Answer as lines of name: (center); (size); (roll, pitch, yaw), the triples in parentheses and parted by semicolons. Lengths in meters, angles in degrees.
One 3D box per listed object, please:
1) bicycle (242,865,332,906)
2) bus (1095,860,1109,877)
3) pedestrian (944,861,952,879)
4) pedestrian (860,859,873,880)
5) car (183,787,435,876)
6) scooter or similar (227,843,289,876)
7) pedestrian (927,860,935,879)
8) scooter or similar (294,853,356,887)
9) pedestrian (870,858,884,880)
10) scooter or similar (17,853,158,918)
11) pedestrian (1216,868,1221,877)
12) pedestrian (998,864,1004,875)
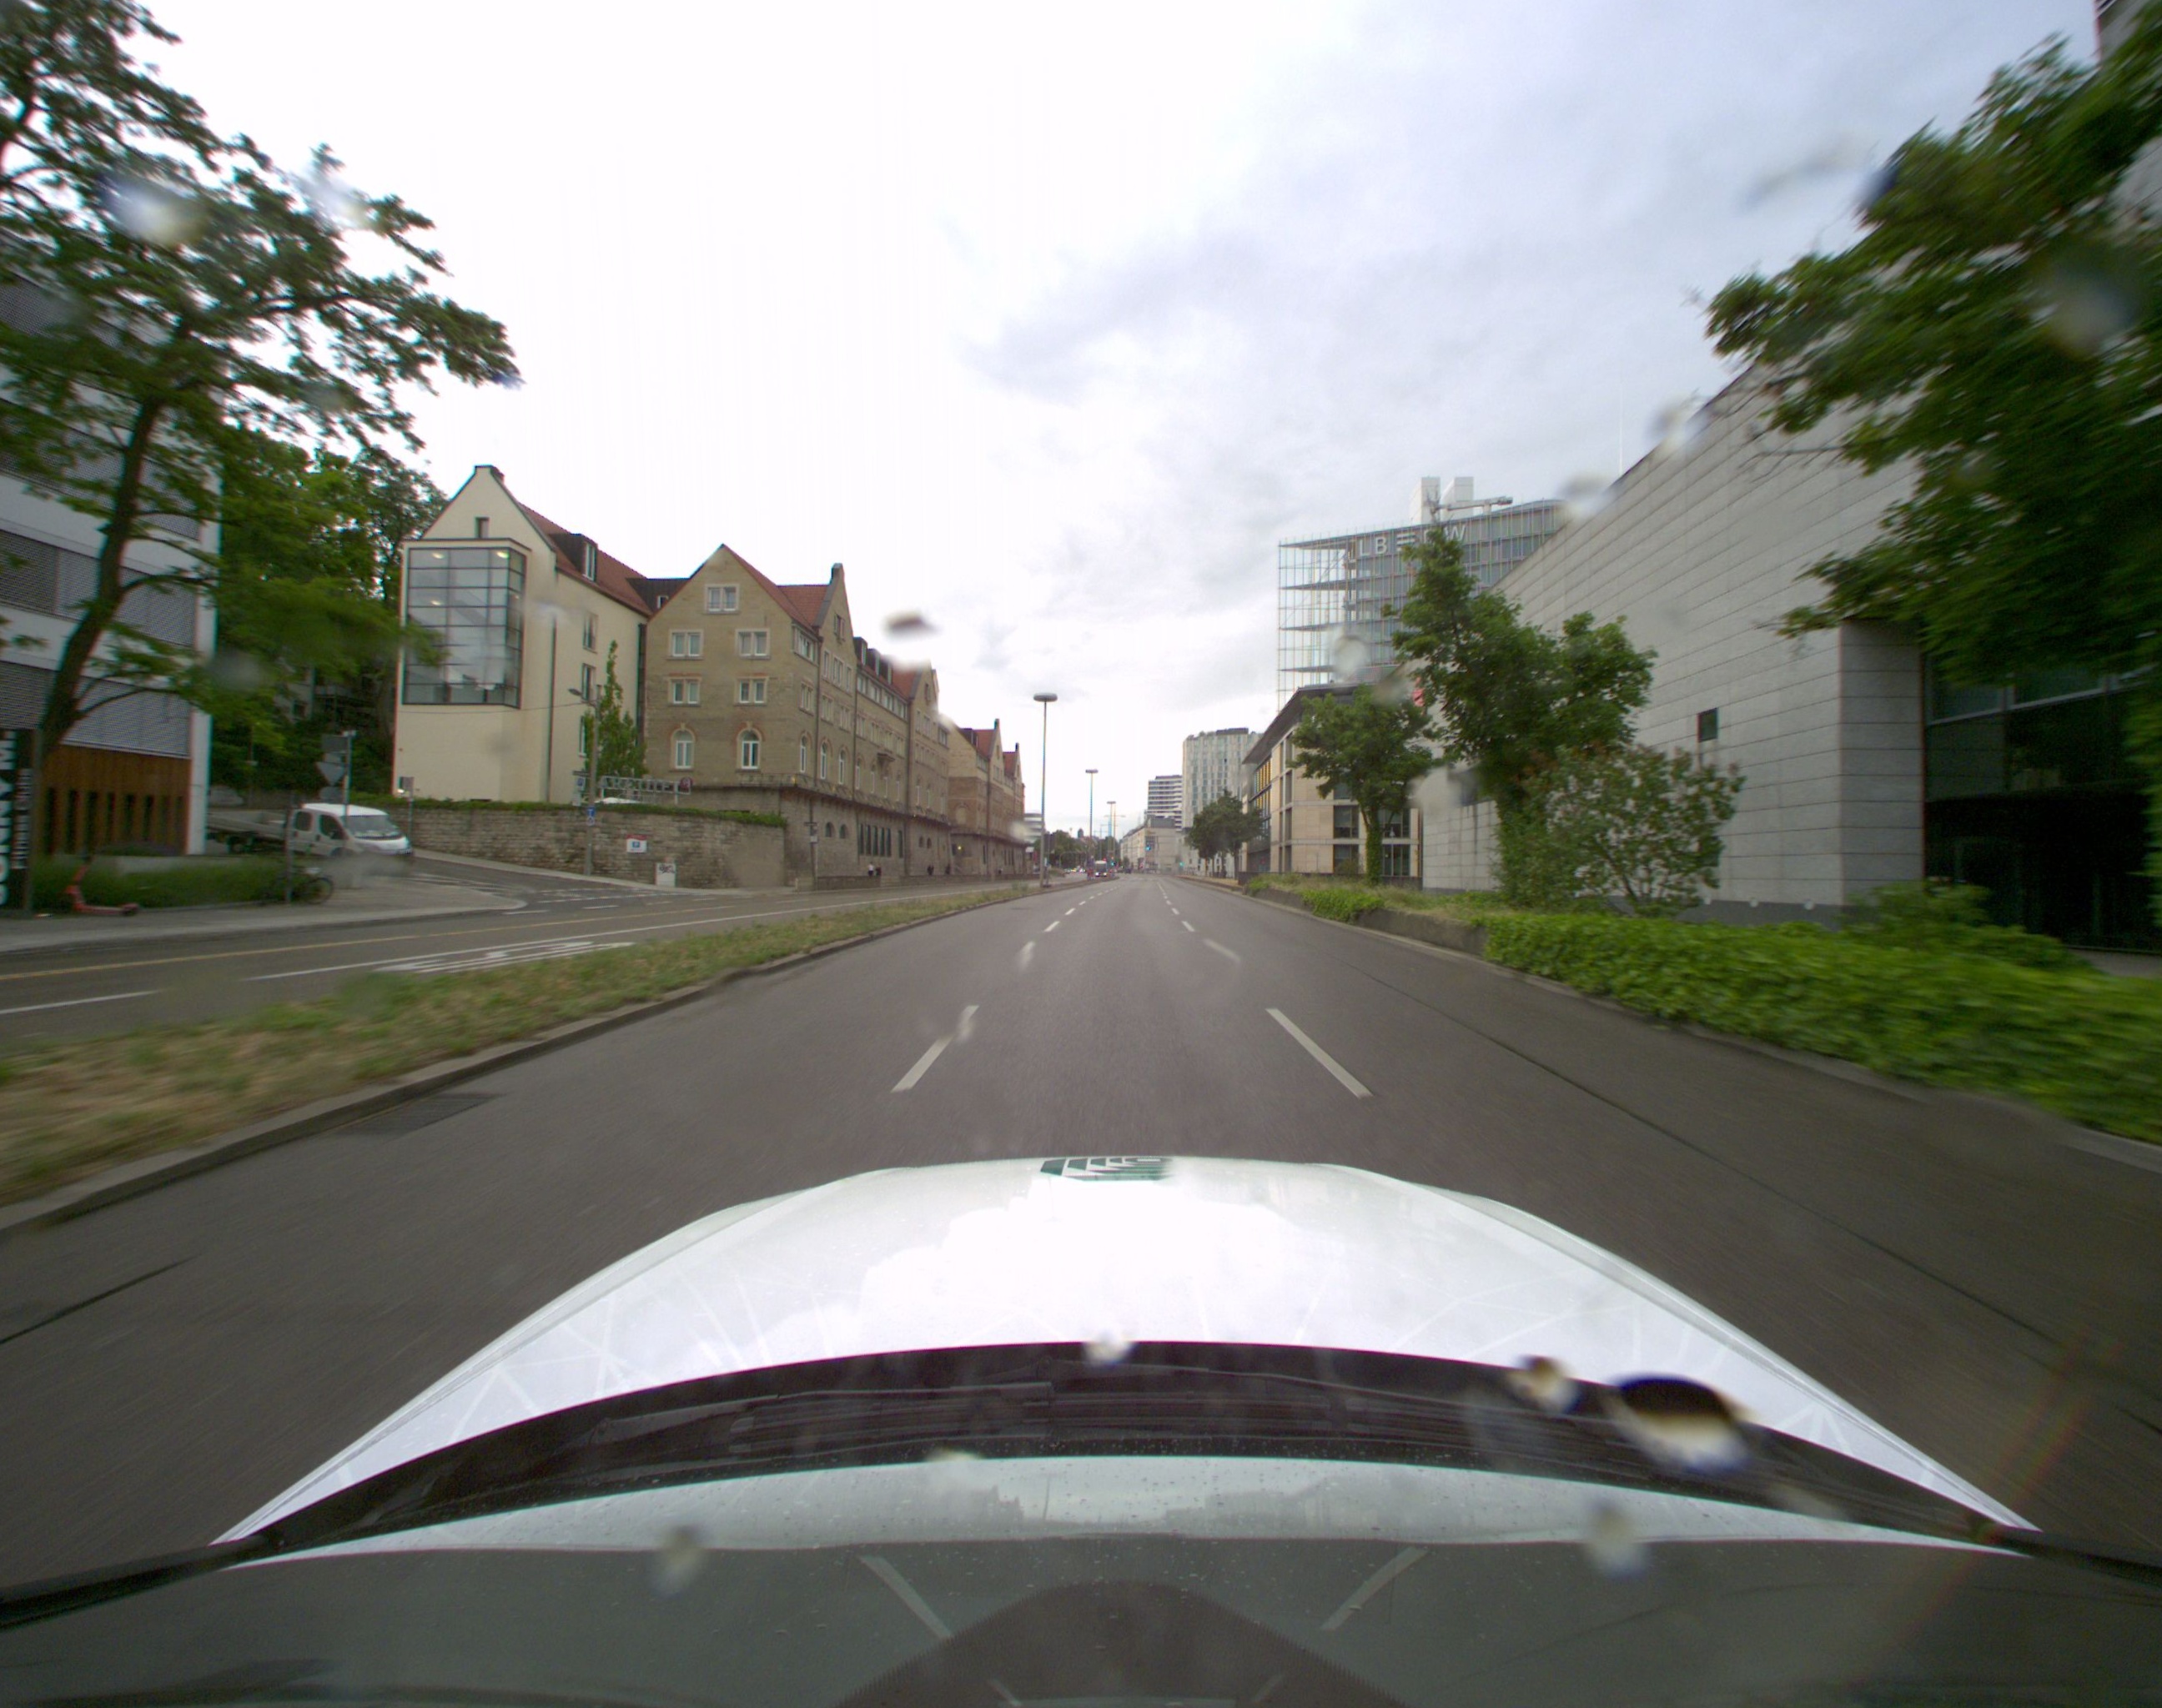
bicycle: (-20.211, 0.782, 20.776); (0.454, 0.991, 1.761); (1, -1, 5)
bus: (4.677, 3.248, 178.895); (2.686, 3.560, 10.104); (-1, -2, 4)
pedestrian: (-12.968, 1.525, 79.374); (0.638, 1.746, 0.621); (-1, 0, 2)
pedestrian: (-15.331, 1.073, 58.220); (0.751, 1.478, 0.715); (-1, 0, 4)
car: (-27.480, -0.843, 29.140); (6.870, 2.274, 2.519); (7, 3, 5)
scooter or similar: (-25.953, 0.173, 25.683); (1.463, 0.921, 0.444); (5, 0, 2)
pedestrian: (-13.922, 1.440, 75.659); (0.638, 1.746, 0.621); (-1, 0, 2)
scooter or similar: (-23.462, 0.486, 25.272); (1.463, 0.921, 0.444); (5, 0, 2)
pedestrian: (-14.551, 1.068, 58.188); (0.751, 1.478, 0.715); (-1, 0, 4)
scooter or similar: (-20.171, 0.653, 16.579); (1.758, 1.247, 0.367); (4, -2, -25)
pedestrian: (23.472, 3.168, 139.098); (0.544, 1.578, 0.675); (-1, 0, 39)
pedestrian: (-10.805, 2.124, 109.979); (0.751, 1.478, 0.715); (-1, 0, 4)
